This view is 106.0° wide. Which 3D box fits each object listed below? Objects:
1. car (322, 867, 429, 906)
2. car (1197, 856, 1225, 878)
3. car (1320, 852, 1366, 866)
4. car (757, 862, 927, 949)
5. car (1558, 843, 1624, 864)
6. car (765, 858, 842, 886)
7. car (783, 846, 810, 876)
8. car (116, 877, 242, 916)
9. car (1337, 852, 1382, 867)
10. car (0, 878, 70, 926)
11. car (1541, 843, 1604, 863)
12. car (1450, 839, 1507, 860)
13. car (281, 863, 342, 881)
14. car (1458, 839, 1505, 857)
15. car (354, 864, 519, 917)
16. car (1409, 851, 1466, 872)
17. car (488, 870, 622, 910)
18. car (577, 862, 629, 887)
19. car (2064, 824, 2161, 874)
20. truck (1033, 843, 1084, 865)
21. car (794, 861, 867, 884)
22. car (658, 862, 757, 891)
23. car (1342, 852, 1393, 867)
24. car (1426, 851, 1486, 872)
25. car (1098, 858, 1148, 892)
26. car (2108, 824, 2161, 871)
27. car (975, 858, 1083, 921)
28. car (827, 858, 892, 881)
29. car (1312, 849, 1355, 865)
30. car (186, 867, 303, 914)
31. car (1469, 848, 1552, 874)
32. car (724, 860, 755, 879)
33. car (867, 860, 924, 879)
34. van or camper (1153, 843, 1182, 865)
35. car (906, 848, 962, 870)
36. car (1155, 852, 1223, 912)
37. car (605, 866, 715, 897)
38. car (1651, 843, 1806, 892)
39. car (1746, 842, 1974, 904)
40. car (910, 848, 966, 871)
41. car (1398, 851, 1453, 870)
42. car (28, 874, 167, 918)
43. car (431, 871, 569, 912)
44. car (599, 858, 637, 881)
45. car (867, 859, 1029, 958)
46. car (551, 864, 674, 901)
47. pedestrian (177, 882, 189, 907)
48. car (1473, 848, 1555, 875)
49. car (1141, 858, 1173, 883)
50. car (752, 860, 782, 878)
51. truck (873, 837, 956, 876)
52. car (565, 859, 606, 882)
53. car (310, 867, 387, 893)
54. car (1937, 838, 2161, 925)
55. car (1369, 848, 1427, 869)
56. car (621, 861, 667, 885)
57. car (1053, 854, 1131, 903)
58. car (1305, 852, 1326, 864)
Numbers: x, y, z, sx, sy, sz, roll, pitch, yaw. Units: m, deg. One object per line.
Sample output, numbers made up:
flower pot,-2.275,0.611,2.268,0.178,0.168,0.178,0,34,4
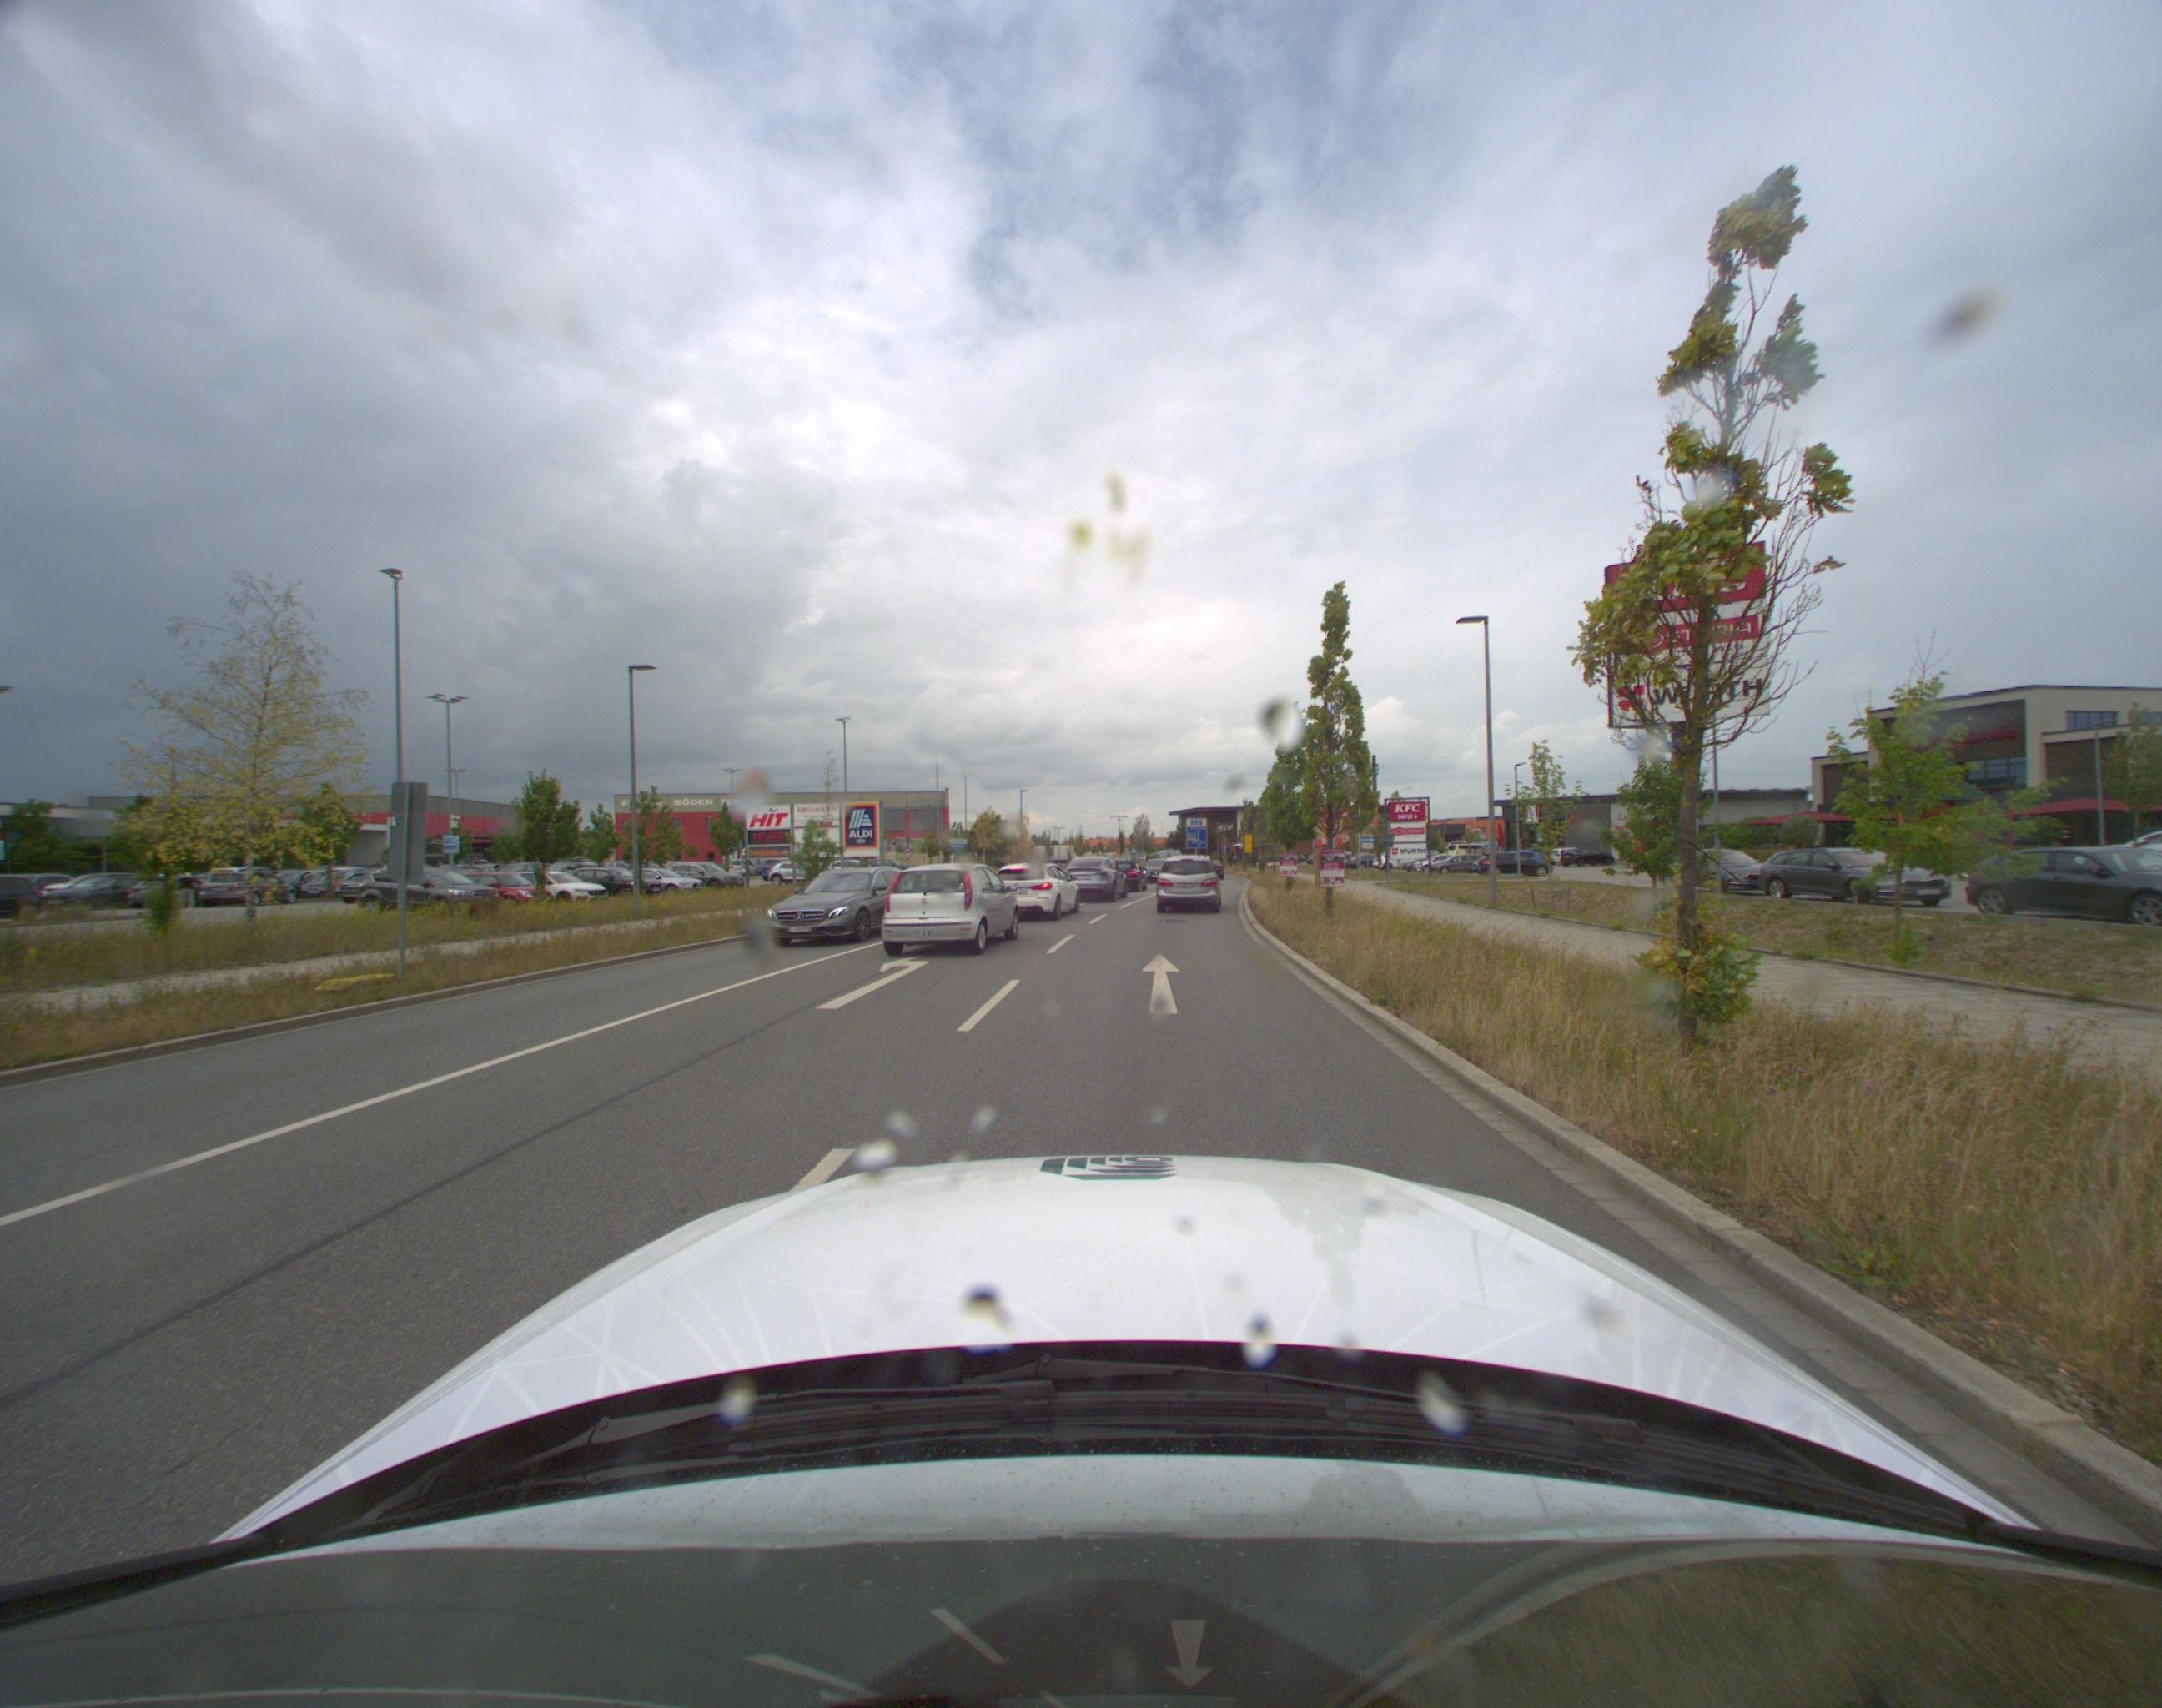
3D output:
car,-33.098,1.486,38.378,1.994,1.607,3.986,-2,0,-10
car,9.242,0.870,57.845,1.834,1.418,4.235,-1,0,9
car,29.325,0.534,91.210,4.465,1.436,2.068,-2,0,-9
car,-4.878,0.984,17.446,1.776,1.489,4.775,-2,0,6
car,42.165,-0.004,67.378,4.564,1.519,1.970,-2,0,-12
car,-18.063,1.145,53.082,4.221,1.723,2.032,-1,-1,5
car,-27.457,0.660,78.660,2.062,2.690,5.119,-2,0,-15
car,-40.978,1.886,37.141,1.834,1.508,3.983,-1,0,-12
car,29.504,0.566,86.261,4.080,1.438,1.938,-2,0,-7
car,-36.064,1.598,25.767,1.990,1.519,5.096,-1,0,-5
car,43.769,-0.081,72.551,4.561,1.519,2.074,-2,0,-10
car,47.813,-0.586,98.084,5.668,2.351,2.530,-2,0,-7
car,-76.164,1.760,80.670,3.979,1.607,1.997,-1,0,-4
car,60.206,-0.916,122.477,5.969,2.528,2.296,-1,0,38
car,-22.467,1.260,28.473,4.276,1.655,2.085,-2,0,8
car,29.023,0.582,66.345,3.843,1.481,1.905,-3,0,5
car,-21.533,1.476,33.434,4.293,1.456,2.016,-1,0,9
car,-34.354,1.458,58.629,1.995,1.607,3.983,-2,0,-12
car,37.973,-0.186,28.094,1.999,1.697,4.762,-1,0,-19
truck,-4.326,-0.017,156.362,9.328,3.907,3.125,-1,-1,-17
car,-17.083,1.265,55.641,4.215,1.513,2.052,-1,0,10
car,-19.978,1.183,43.619,4.329,1.391,2.172,-1,0,11
car,29.301,0.549,83.285,4.510,1.469,2.028,-2,0,-5
car,28.292,0.537,61.574,3.738,1.494,1.893,-1,0,7
car,1.987,0.918,37.404,1.758,1.438,4.242,-1,-1,10
car,40.526,-0.269,28.995,2.135,1.678,4.505,-1,0,-22
car,-1.246,0.863,21.461,1.868,1.468,4.204,-2,-1,10
car,-16.553,1.181,60.920,4.232,1.559,1.989,-2,0,0
car,29.029,0.360,93.711,4.349,1.639,1.930,-2,0,-11
car,-38.314,1.609,37.473,1.837,1.922,4.422,-1,0,-17
car,27.243,0.416,51.820,4.237,1.520,1.971,-1,0,9
car,-32.505,1.441,77.638,1.995,1.729,3.983,-2,0,-12
car,-15.557,1.285,68.461,4.213,1.435,2.000,-1,0,4
van or camper,10.123,0.010,95.631,2.301,2.506,5.192,-1,0,-7
car,-16.408,0.572,91.290,6.069,2.307,2.203,-1,-1,-10
car,3.205,0.746,23.646,1.718,1.600,3.819,0,0,11
car,-20.442,1.332,39.638,4.290,1.340,2.031,-1,0,7
car,21.570,0.391,27.431,1.950,1.460,4.844,-2,0,9
car,20.556,0.440,21.853,1.854,1.437,4.889,-2,0,7
car,-16.909,0.659,96.281,6.406,2.598,2.237,-1,-1,-9
car,30.081,0.554,71.186,3.970,1.485,1.942,-2,-1,3
car,-43.752,1.832,36.385,1.834,1.684,3.983,-2,0,-12
car,-22.064,1.418,31.000,4.058,1.391,2.006,-2,0,11
car,-42.839,1.420,75.434,1.995,2.013,3.983,-1,0,-13
car,-2.180,0.851,14.461,1.693,1.438,4.041,-2,0,7
car,-21.101,1.277,36.749,4.338,1.505,2.246,-1,0,10
pedestrian,-38.097,1.711,34.536,0.386,1.049,0.270,-1,-1,32
car,26.177,0.444,49.365,3.960,1.494,1.988,-1,0,12
car,4.622,0.961,49.490,1.820,1.420,4.252,-1,0,5
car,-29.949,1.429,77.840,1.995,1.607,3.983,-2,0,-12
truck,-15.650,0.219,77.278,2.822,3.541,8.480,-1,0,28
car,-45.499,1.477,74.855,1.995,2.013,3.983,-1,0,-13
car,-50.384,1.758,56.125,1.995,1.607,4.276,-2,0,-12
car,19.708,0.471,15.598,1.984,1.496,4.614,-2,-1,5
car,29.675,0.429,76.249,4.547,1.645,2.088,-3,0,-1
car,-31.601,1.364,59.034,1.849,1.607,3.983,-2,0,-12
car,0.492,0.823,29.635,1.981,1.561,4.627,-1,0,11
car,30.176,0.506,104.829,1.794,1.313,3.873,-2,0,27
